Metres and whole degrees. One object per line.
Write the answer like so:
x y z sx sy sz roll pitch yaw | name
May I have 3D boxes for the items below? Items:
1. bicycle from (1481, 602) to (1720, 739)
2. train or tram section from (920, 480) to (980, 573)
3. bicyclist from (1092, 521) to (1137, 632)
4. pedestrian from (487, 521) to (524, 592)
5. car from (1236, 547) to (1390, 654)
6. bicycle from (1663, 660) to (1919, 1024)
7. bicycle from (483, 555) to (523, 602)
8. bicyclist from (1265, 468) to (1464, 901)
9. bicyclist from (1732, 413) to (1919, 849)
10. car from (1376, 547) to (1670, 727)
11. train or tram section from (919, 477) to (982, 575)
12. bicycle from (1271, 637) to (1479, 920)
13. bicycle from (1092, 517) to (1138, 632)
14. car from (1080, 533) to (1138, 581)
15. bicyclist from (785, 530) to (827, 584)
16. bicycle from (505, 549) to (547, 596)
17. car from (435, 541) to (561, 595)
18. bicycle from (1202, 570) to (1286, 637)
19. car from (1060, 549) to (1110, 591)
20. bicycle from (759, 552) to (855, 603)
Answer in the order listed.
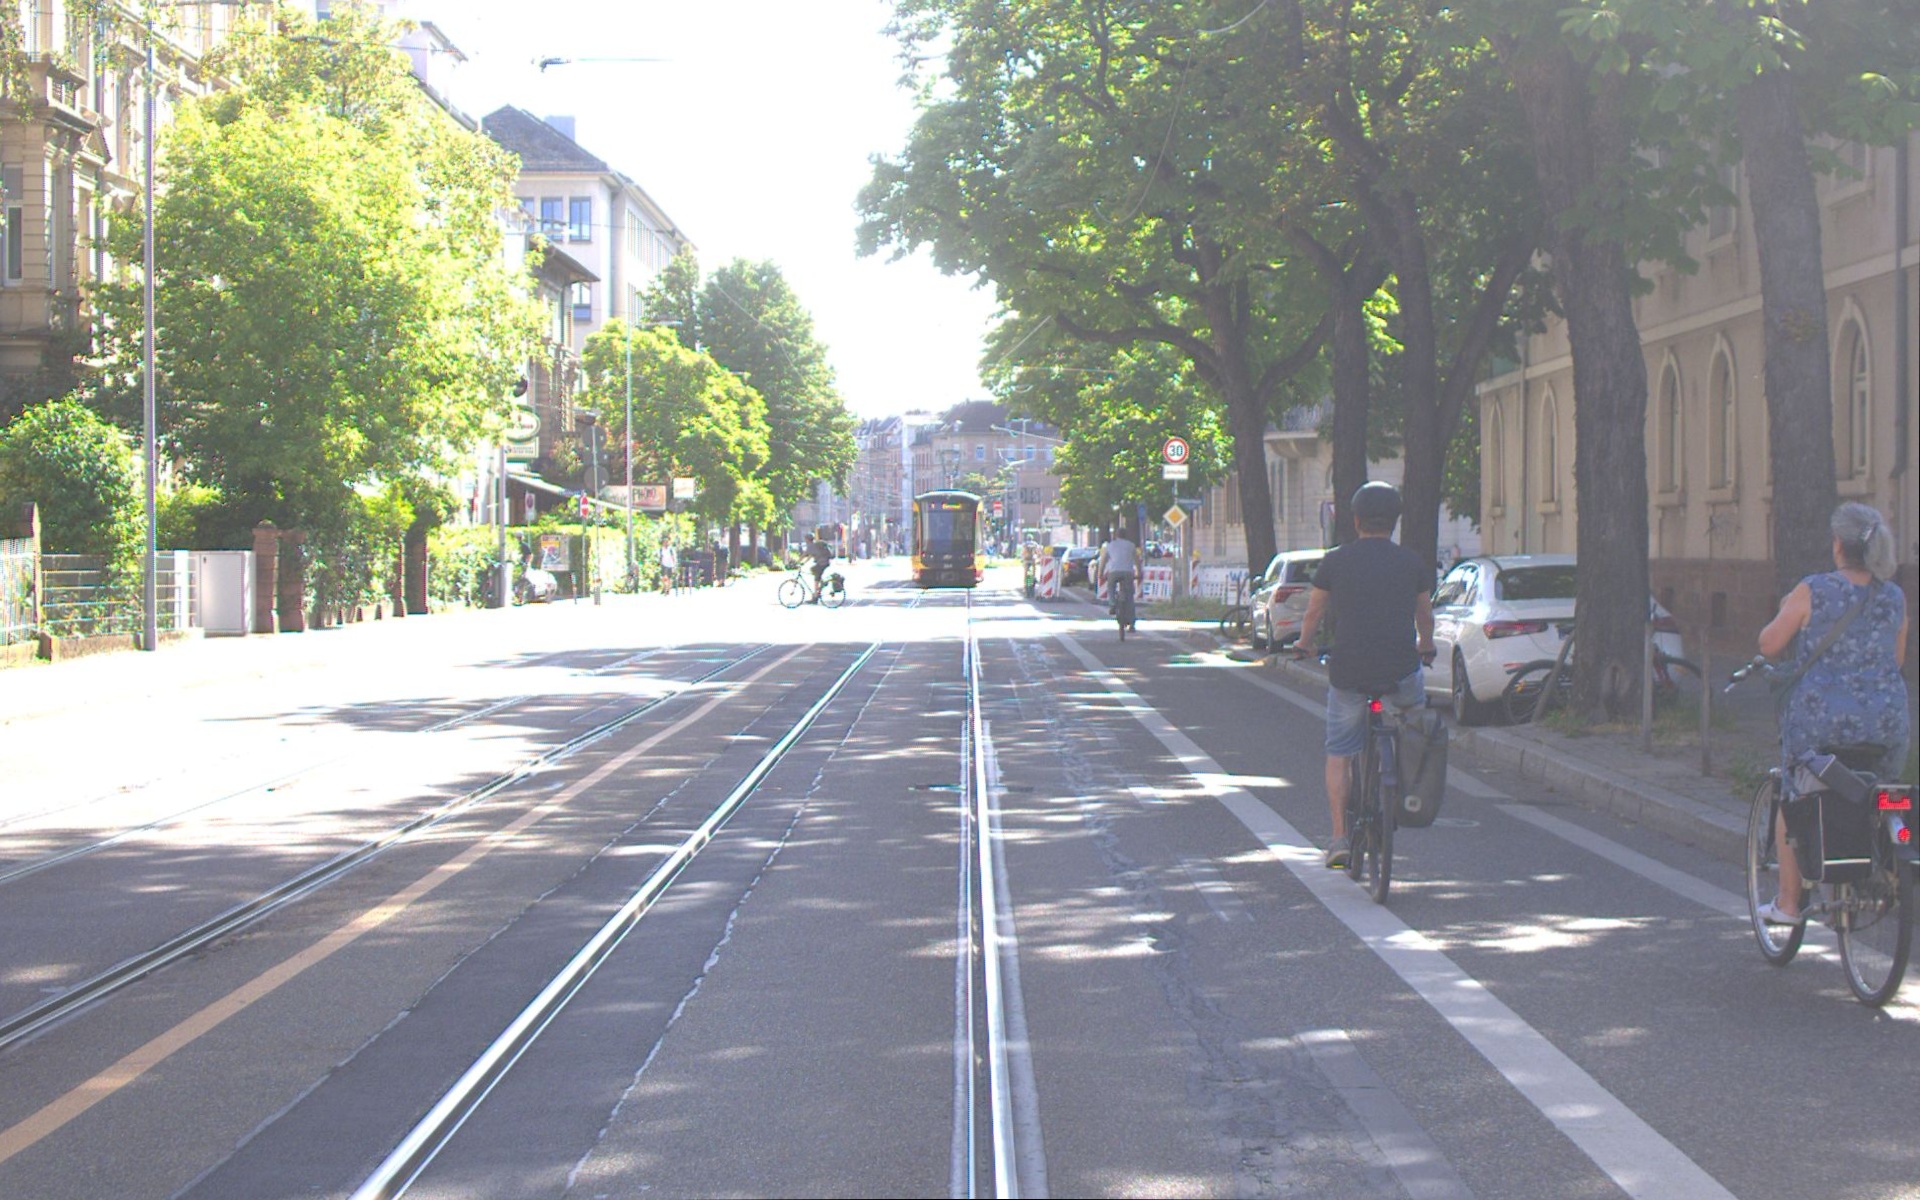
5.187 0.565 27.909 1.792 1.016 0.620 -2 1 0 | bicycle
-0.377 -2.820 131.711 2.153 3.420 6.611 1 1 0 | train or tram section
2.531 -0.388 56.347 0.645 1.789 0.956 1 1 0 | bicyclist
-11.035 -1.064 83.417 0.770 1.706 0.669 1 1 0 | pedestrian
5.033 -0.021 49.395 1.748 1.415 4.000 -1 1 0 | car
3.047 0.811 12.198 0.692 1.108 1.917 1 1 0 | bicycle
-10.651 -0.505 80.096 0.632 1.065 1.832 1 1 -17 | bicycle
1.771 0.356 15.170 0.727 1.842 0.837 1 1 -1 | bicyclist
3.086 0.101 11.943 0.635 1.463 0.616 1 1 0 | bicyclist
4.937 0.267 30.742 1.628 1.431 4.666 -1 1 -3 | car
-0.344 -2.685 125.063 2.153 3.420 6.611 1 1 0 | train or tram section
1.803 0.751 15.152 0.692 1.108 1.719 1 1 0 | bicycle
2.557 -0.437 56.934 0.663 1.853 2.260 1 1 1 | bicycle
5.005 -1.460 115.867 1.754 1.546 3.677 1 1 0 | car
-3.710 -1.038 82.812 0.773 1.287 0.733 2 1 16 | bicyclist
-10.236 -0.653 81.087 0.632 1.065 1.832 1 1 -18 | bicycle
-12.637 -0.849 93.838 1.755 1.415 3.578 0 0 -40 | car
4.533 0.057 54.822 1.270 1.020 0.704 2 0 8 | bicycle
4.807 -1.158 132.293 1.754 1.546 3.677 1 1 0 | car
-3.676 -0.537 82.816 2.141 1.167 0.802 2 1 15 | bicycle
